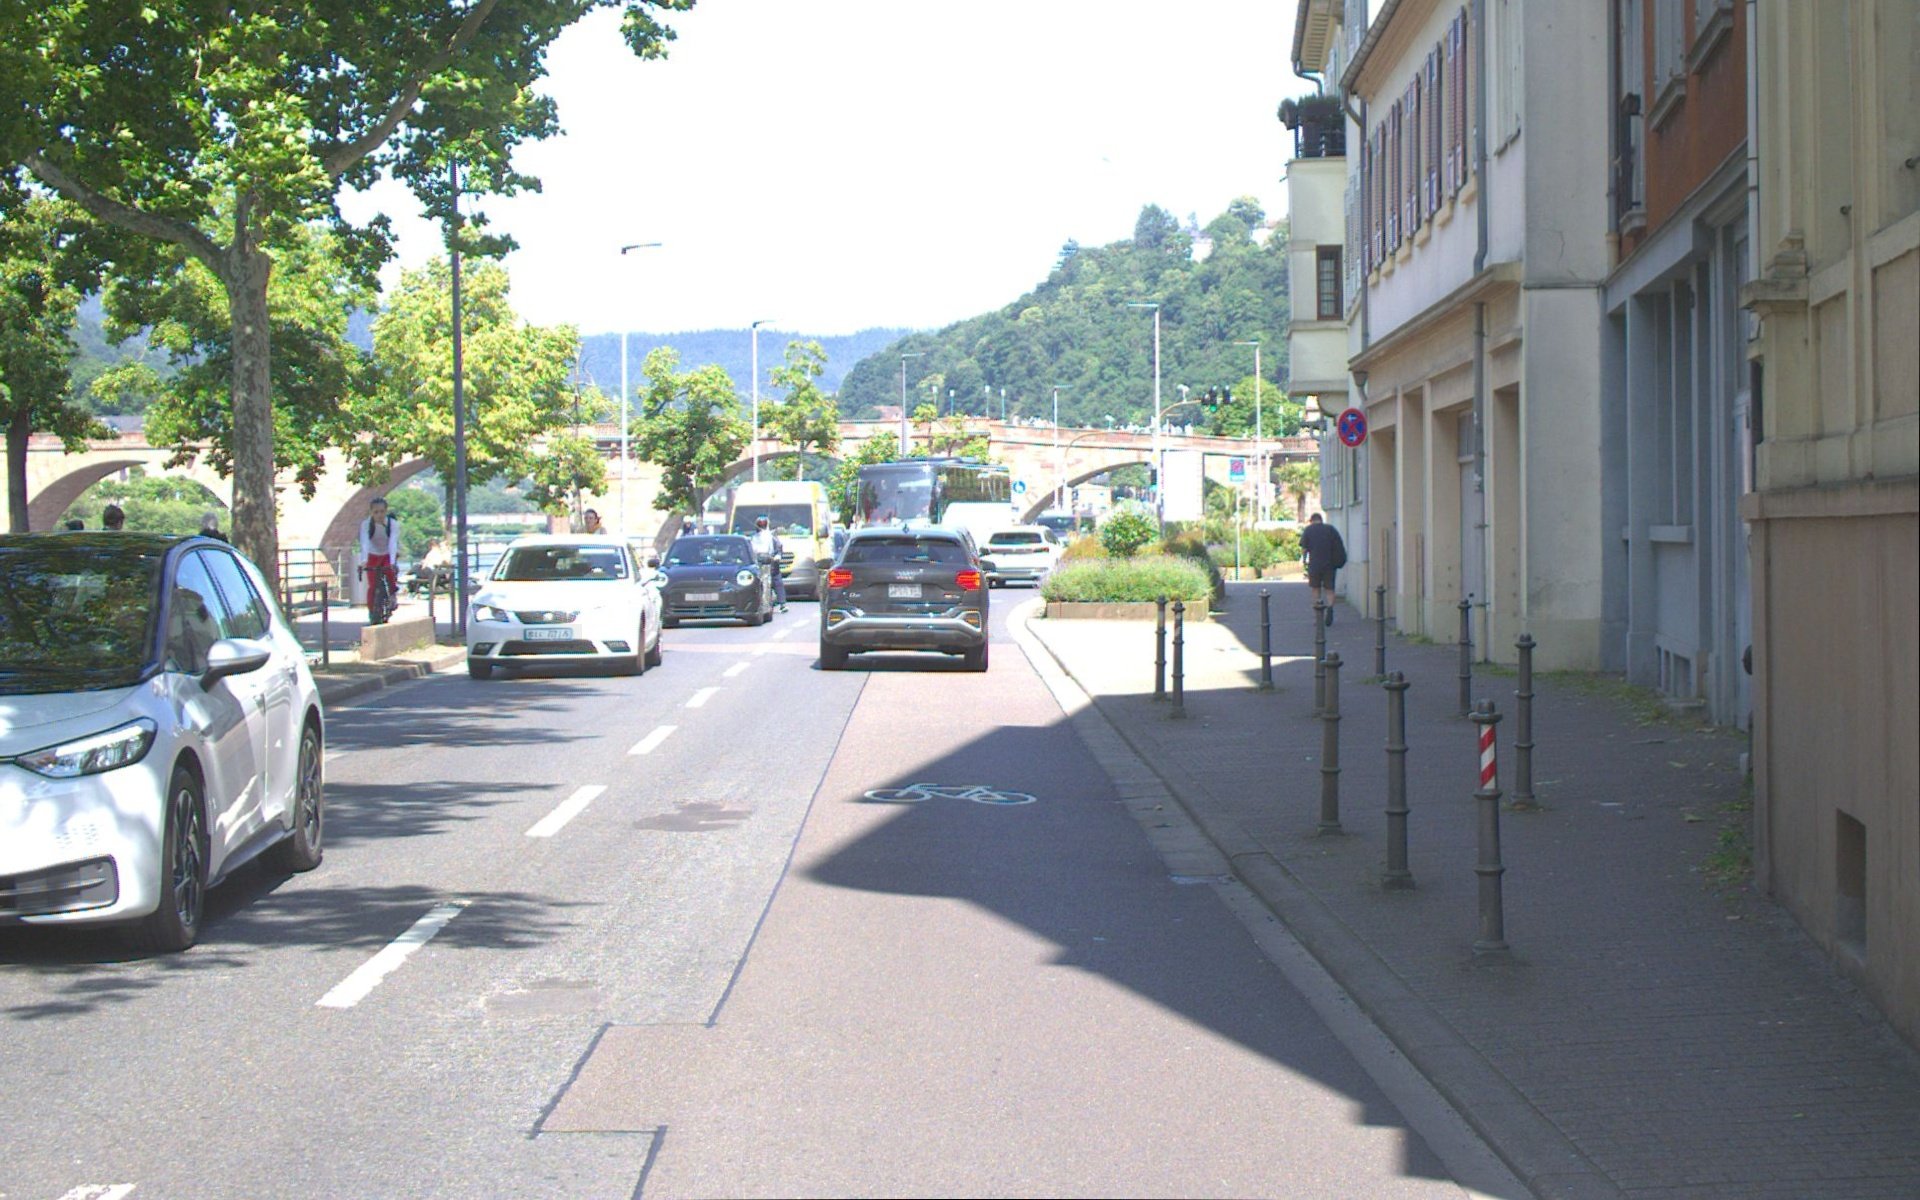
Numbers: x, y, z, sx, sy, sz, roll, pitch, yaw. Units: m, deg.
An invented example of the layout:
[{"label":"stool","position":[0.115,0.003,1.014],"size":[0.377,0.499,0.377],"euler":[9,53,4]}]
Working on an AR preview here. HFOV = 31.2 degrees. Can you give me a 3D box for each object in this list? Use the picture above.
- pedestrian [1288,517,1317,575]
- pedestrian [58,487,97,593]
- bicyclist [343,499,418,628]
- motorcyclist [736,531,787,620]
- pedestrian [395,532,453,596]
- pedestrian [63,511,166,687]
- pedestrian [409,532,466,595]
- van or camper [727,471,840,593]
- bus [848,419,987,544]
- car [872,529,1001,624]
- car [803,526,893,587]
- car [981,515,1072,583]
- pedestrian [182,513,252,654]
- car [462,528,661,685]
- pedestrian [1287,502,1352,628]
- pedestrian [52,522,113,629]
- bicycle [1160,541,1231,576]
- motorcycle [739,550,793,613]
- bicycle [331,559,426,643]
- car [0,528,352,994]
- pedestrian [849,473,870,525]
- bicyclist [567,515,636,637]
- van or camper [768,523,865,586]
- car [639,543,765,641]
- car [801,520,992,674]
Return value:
[{"label":"pedestrian","position":[9.347,-1.469,93.725],"size":[0.762,1.589,0.696],"euler":[0,1,7]},{"label":"pedestrian","position":[-13.345,-0.909,51.980],"size":[0.414,1.592,0.450],"euler":[0,1,7]},{"label":"bicyclist","position":[-7.169,-0.455,42.560],"size":[0.719,1.578,1.089],"euler":[-1,1,1]},{"label":"motorcyclist","position":[-3.562,-0.453,61.839],"size":[0.878,1.578,1.025],"euler":[-1,1,-2]},{"label":"pedestrian","position":[-10.816,-0.739,69.445],"size":[0.937,1.276,0.849],"euler":[0,1,8]},{"label":"pedestrian","position":[-7.719,-0.015,31.419],"size":[0.761,1.581,0.696],"euler":[-1,1,-1]},{"label":"pedestrian","position":[-10.695,-0.757,70.349],"size":[0.937,1.276,0.849],"euler":[0,1,8]},{"label":"van or camper","position":[-3.807,-1.485,75.333],"size":[2.087,2.548,7.092],"euler":[0,1,0]},{"label":"bus","position":[-1.190,-3.563,106.945],"size":[2.632,3.552,12.980],"euler":[0,1,7]},{"label":"car","position":[-0.340,-0.418,56.756],"size":[1.926,1.456,4.832],"euler":[0,1,2]},{"label":"car","position":[-2.880,-1.149,89.379],"size":[1.814,1.423,4.310],"euler":[-2,2,5]},{"label":"car","position":[1.628,-1.253,83.064],"size":[1.927,1.548,4.831],"euler":[-1,1,4]},{"label":"pedestrian","position":[-9.009,-0.202,41.701],"size":[0.656,1.676,0.758],"euler":[1,1,-1]},{"label":"car","position":[-4.112,0.024,35.998],"size":[1.701,1.440,4.092],"euler":[1,2,-1]},{"label":"pedestrian","position":[5.037,-0.489,48.217],"size":[0.762,1.707,0.696],"euler":[-3,1,3]},{"label":"pedestrian","position":[-13.454,-0.379,52.714],"size":[0.694,1.610,0.663],"euler":[0,1,7]},{"label":"bicycle","position":[6.146,-1.086,89.666],"size":[1.810,0.875,0.502],"euler":[1,2,3]},{"label":"motorcycle","position":[-3.497,-0.338,61.723],"size":[0.883,1.073,2.328],"euler":[-1,1,-5]},{"label":"bicycle","position":[-7.171,0.000,42.476],"size":[0.754,0.976,1.953],"euler":[0,2,2]},{"label":"car","position":[-3.702,0.516,13.766],"size":[1.735,1.513,4.405],"euler":[-2,2,0]},{"label":"pedestrian","position":[-3.449,-3.474,117.964],"size":[0.620,1.774,0.662],"euler":[0,1,7]},{"label":"bicyclist","position":[-4.667,-0.326,44.780],"size":[0.766,1.526,1.025],"euler":[1,3,1]},{"label":"van or camper","position":[-3.427,-1.122,82.812],"size":[1.993,1.449,4.683],"euler":[-1,1,1]},{"label":"car","position":[-4.031,-0.149,54.224],"size":[1.701,1.453,4.002],"euler":[-1,1,-1]},{"label":"car","position":[-0.678,-0.051,37.578],"size":[1.926,1.548,4.832],"euler":[1,1,-1]}]
